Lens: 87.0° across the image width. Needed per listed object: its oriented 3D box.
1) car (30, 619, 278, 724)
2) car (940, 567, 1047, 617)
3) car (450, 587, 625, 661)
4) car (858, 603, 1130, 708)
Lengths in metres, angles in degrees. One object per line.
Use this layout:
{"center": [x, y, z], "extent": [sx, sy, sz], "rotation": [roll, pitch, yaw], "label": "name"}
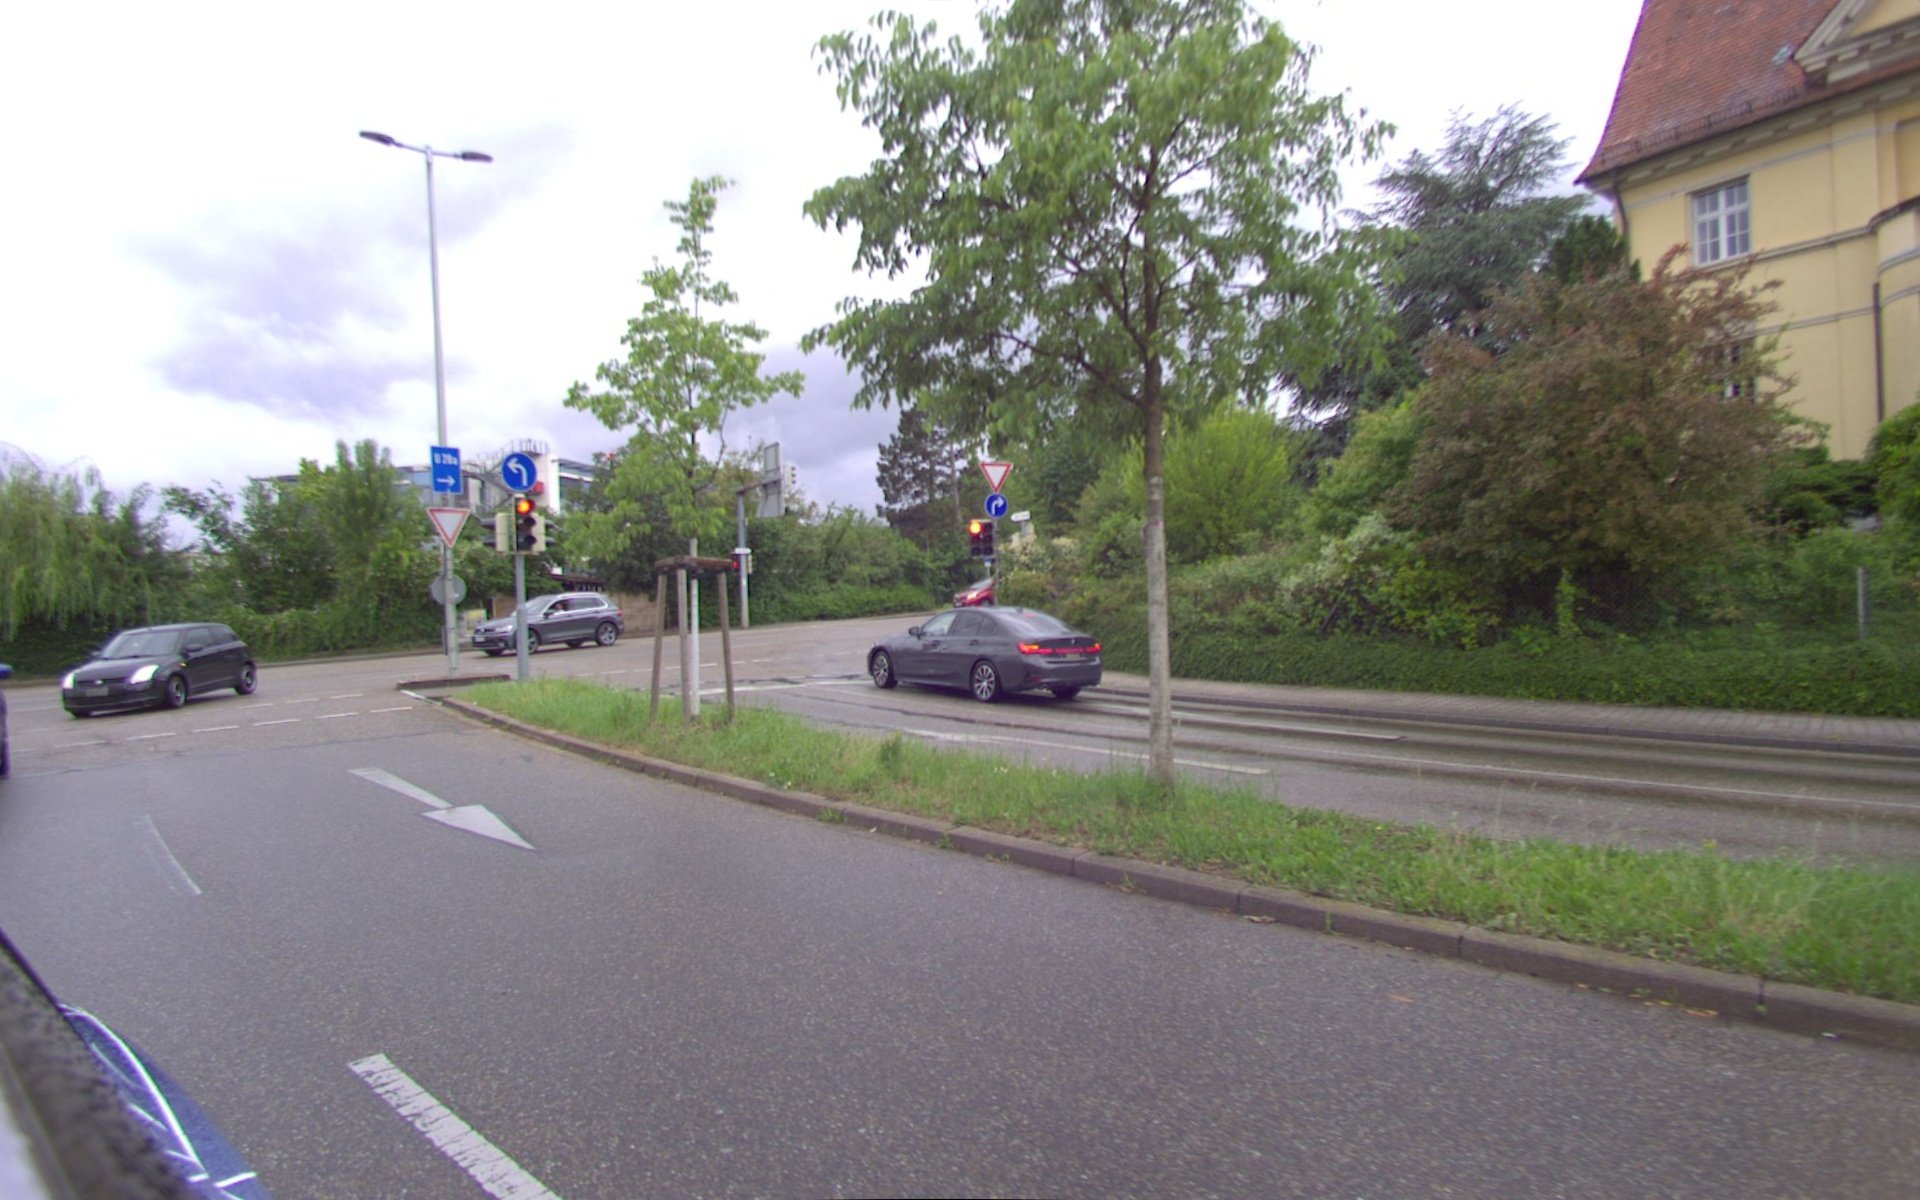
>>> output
{"center": [-14.972, 1.245, 19.115], "extent": [1.720, 1.530, 4.006], "rotation": [-5, 1, -7], "label": "car"}
{"center": [1.407, -0.338, 41.814], "extent": [3.933, 1.738, 1.874], "rotation": [-5, 1, -32], "label": "car"}
{"center": [-12.318, 0.669, 29.734], "extent": [1.966, 1.762, 4.255], "rotation": [-4, 1, 37], "label": "car"}
{"center": [0.385, 0.857, 16.401], "extent": [1.967, 1.449, 4.557], "rotation": [1, -2, -37], "label": "car"}
